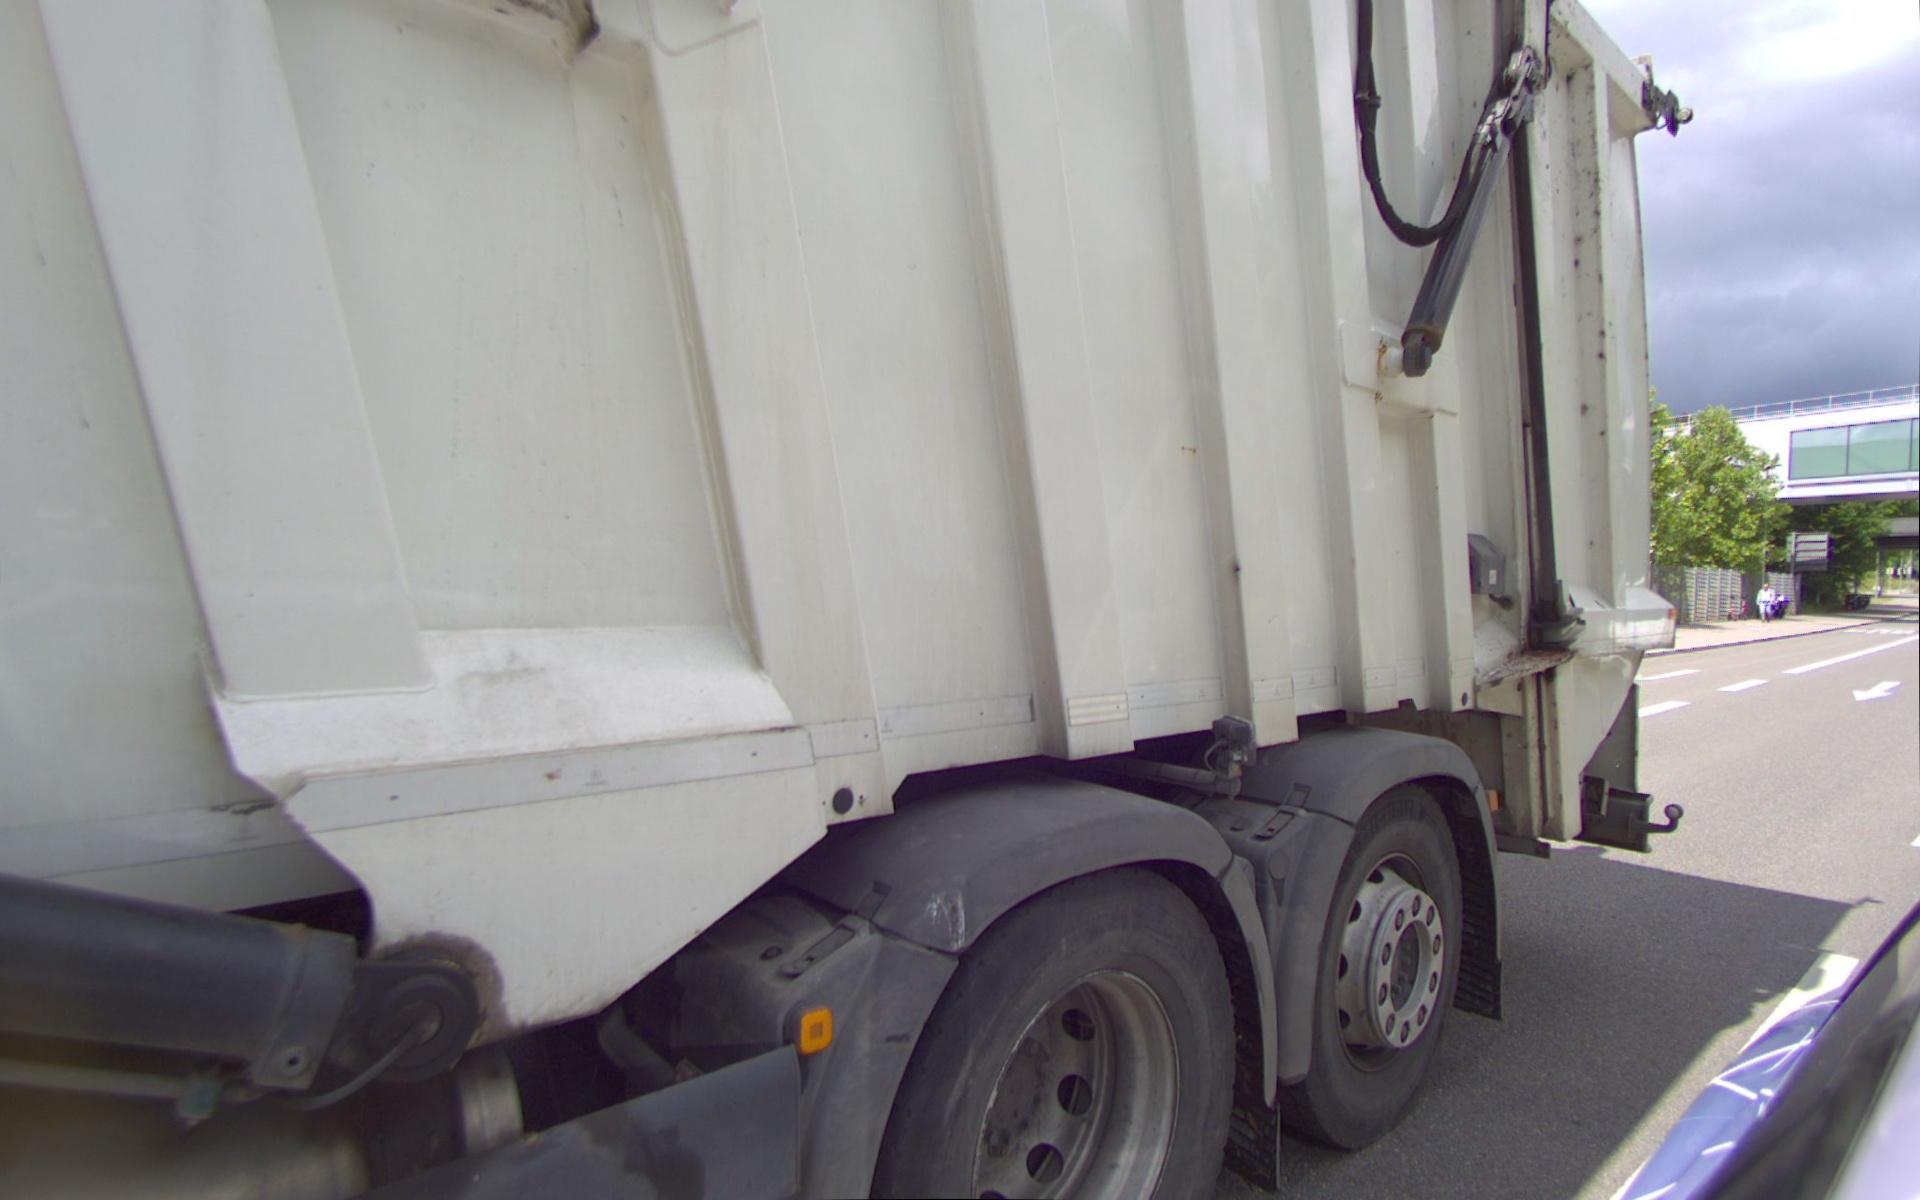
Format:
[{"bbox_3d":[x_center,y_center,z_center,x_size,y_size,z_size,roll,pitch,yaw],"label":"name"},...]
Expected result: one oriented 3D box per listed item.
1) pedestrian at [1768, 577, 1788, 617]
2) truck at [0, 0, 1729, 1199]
[{"bbox_3d":[40.584,-0.145,50.206,0.737,1.936,0.648,0,0,44],"label":"pedestrian"},{"bbox_3d":[-0.854,-0.636,2.446,9.999,3.962,2.492,-1,0,-42],"label":"truck"}]
